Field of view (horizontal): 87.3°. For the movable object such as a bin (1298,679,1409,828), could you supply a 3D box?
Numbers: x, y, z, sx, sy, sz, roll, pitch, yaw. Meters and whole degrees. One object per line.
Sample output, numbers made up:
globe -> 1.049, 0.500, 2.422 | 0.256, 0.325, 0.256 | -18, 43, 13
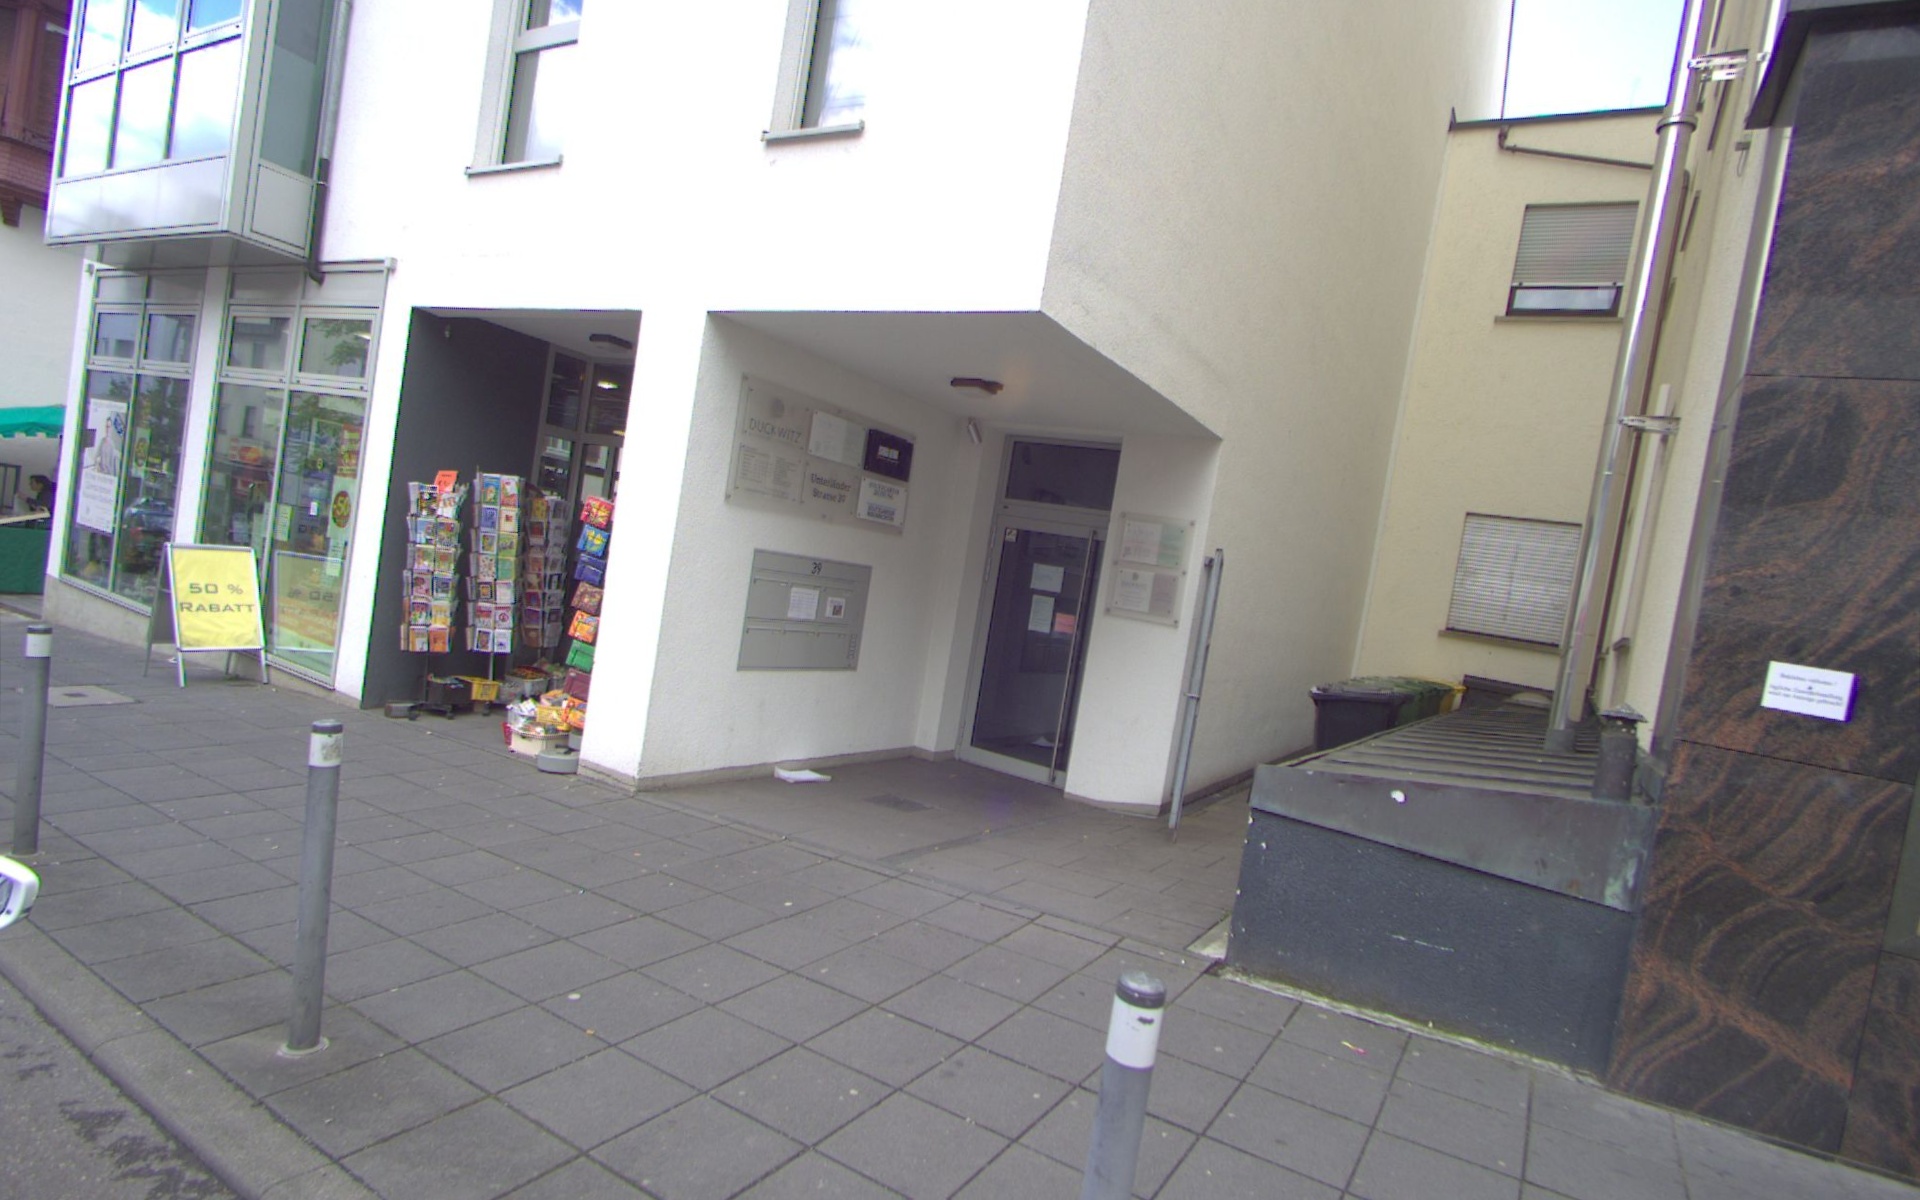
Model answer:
movable object such as a bin -> 3.258, 1.233, 8.316 | 0.643, 1.072, 0.722 | 7, 1, 30

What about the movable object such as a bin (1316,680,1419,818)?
movable object such as a bin -> 3.639, 1.294, 8.959 | 0.643, 1.072, 0.746 | 7, 1, 30

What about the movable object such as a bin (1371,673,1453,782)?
movable object such as a bin -> 5.039, 1.392, 11.199 | 0.643, 1.072, 0.746 | 7, 1, 30

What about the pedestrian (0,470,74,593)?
pedestrian -> -13.136, -0.968, 14.271 | 0.692, 1.633, 0.623 | 7, 1, 36

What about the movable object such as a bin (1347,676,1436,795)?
movable object such as a bin -> 4.408, 1.353, 10.261 | 0.643, 1.072, 0.746 | 7, 1, 30

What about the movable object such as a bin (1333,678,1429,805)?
movable object such as a bin -> 4.025, 1.321, 9.609 | 0.643, 1.072, 0.746 | 7, 1, 30
